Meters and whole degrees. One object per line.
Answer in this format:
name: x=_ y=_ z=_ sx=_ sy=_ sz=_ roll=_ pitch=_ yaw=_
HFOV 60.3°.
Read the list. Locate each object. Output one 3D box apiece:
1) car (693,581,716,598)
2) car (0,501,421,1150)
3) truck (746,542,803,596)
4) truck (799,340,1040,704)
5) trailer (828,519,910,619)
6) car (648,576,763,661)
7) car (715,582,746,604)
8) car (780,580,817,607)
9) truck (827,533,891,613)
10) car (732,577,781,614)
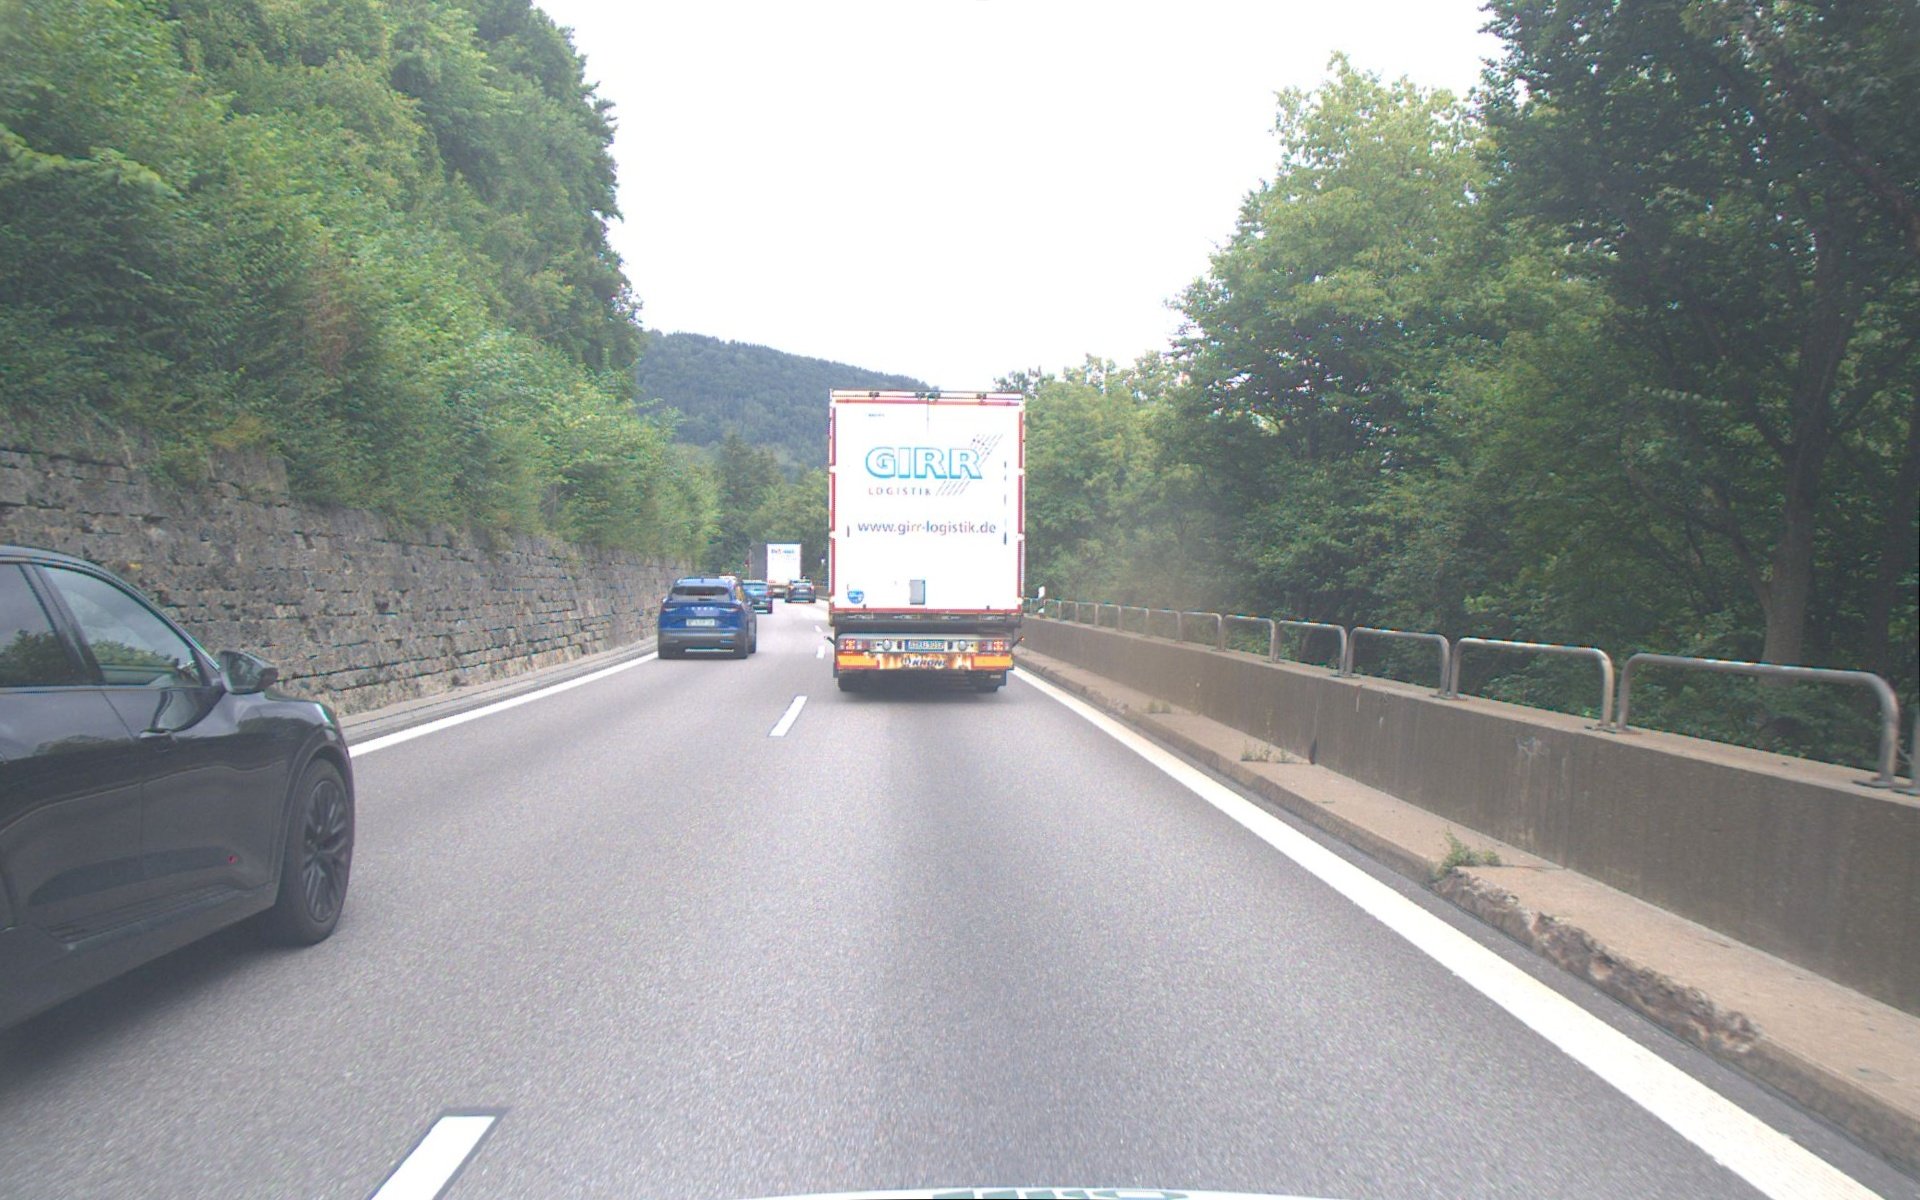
car: x=-24.823 y=-1.053 z=160.718 sx=1.864 sy=1.577 sz=4.234 roll=1 pitch=1 yaw=-14
car: x=-3.451 y=0.573 z=5.204 sx=1.953 sy=1.660 sz=5.007 roll=0 pitch=0 yaw=-1
truck: x=-14.296 y=-2.284 z=126.359 sx=2.590 sy=3.925 sz=12.310 roll=0 pitch=0 yaw=-15
truck: x=-0.892 y=-1.040 z=28.288 sx=3.023 sy=4.542 sz=15.146 roll=0 pitch=0 yaw=-3
trailer: x=-3.297 y=-1.012 z=57.527 sx=2.169 sy=3.101 sz=11.123 roll=1 pitch=0 yaw=-6
car: x=-5.293 y=0.351 z=35.008 sx=1.954 sy=1.660 sz=5.005 roll=0 pitch=0 yaw=-4
car: x=-16.829 y=-0.529 z=121.016 sx=1.864 sy=1.577 sz=4.235 roll=1 pitch=1 yaw=-13
car: x=-10.233 y=-0.434 z=104.583 sx=2.023 sy=1.683 sz=3.990 roll=0 pitch=0 yaw=-10
truck: x=-3.913 y=-1.005 z=63.293 sx=2.166 sy=2.901 sz=4.997 roll=1 pitch=0 yaw=-6
car: x=-9.413 y=-0.234 z=76.279 sx=1.958 sy=1.624 sz=4.342 roll=1 pitch=0 yaw=-11
